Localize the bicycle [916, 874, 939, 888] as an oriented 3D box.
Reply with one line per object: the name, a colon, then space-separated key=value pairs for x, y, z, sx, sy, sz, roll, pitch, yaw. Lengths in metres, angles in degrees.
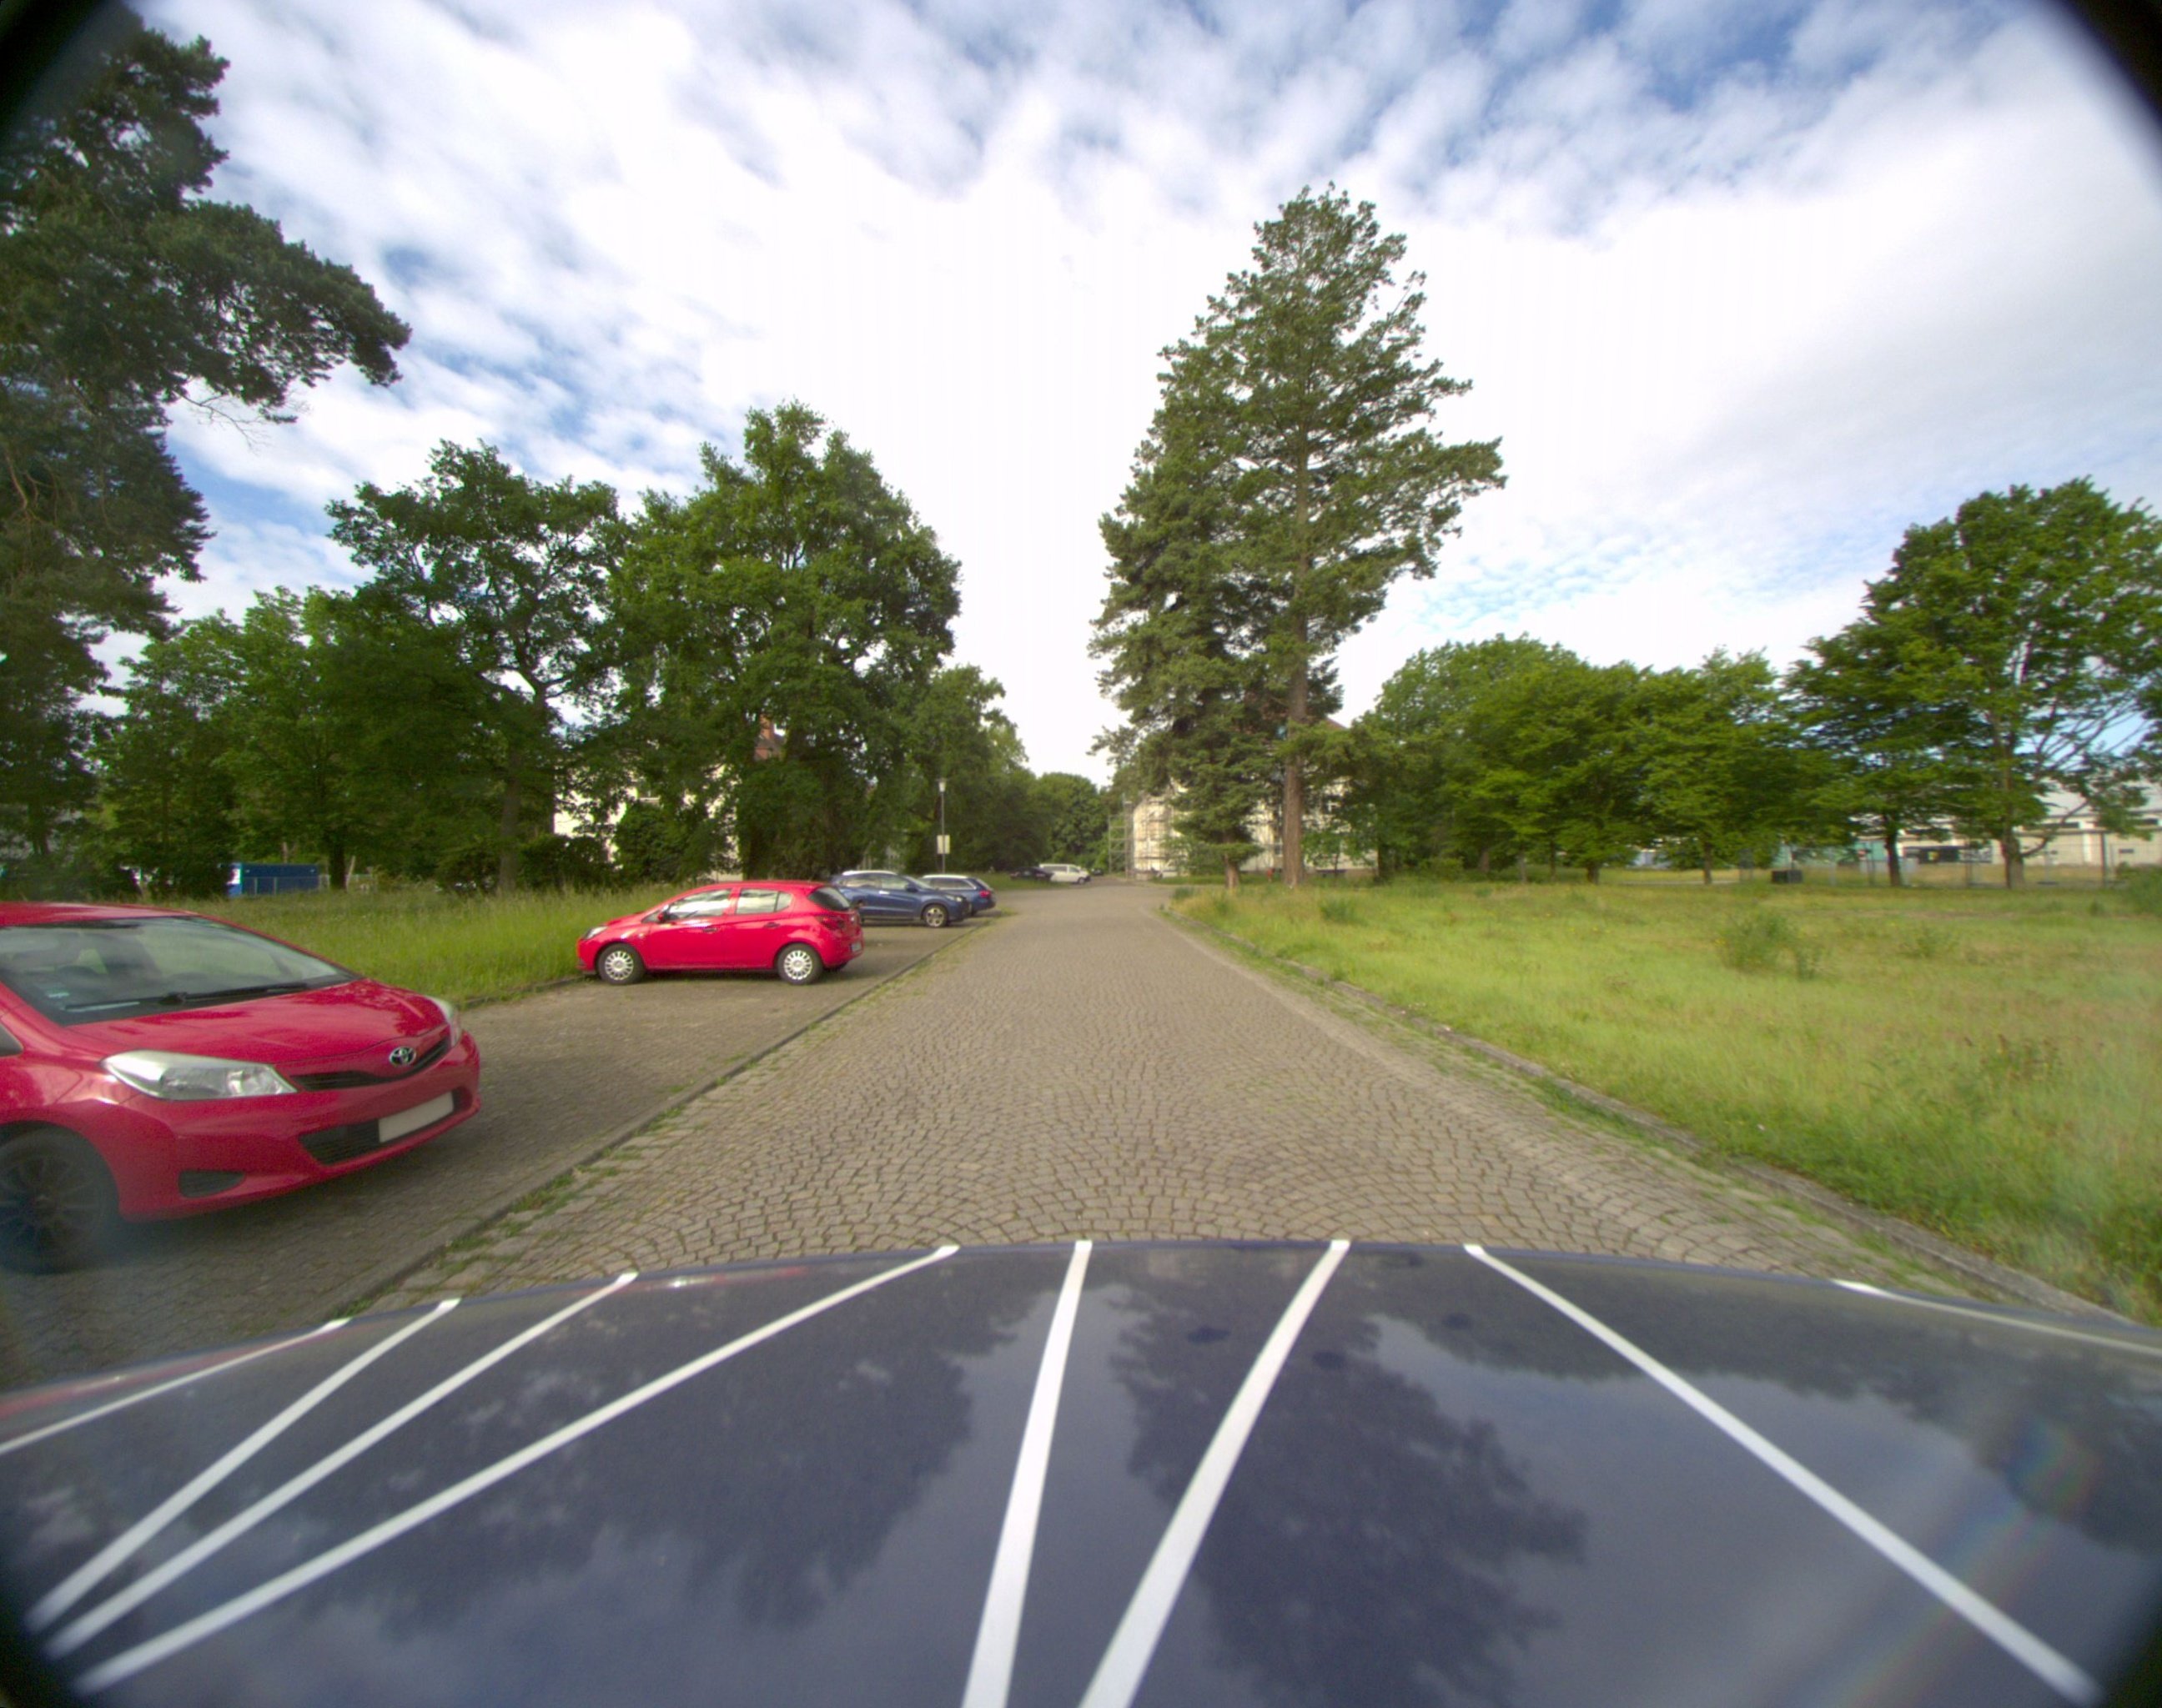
bicycle: x=-12.353 y=2.170 z=61.074 sx=1.753 sy=1.082 sz=0.552 roll=0 pitch=2 yaw=-22

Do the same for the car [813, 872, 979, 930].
car: x=-5.184 y=1.314 z=21.736 sx=4.274 sy=1.564 sz=1.895 roll=0 pitch=-1 yaw=-1

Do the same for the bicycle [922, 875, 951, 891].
bicycle: x=-10.461 y=2.090 z=54.893 sx=2.020 sy=1.082 sz=0.478 roll=0 pitch=2 yaw=-22

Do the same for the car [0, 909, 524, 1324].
car: x=-5.470 y=1.119 z=3.835 sx=3.997 sy=1.509 sz=1.738 roll=-1 pitch=-1 yaw=0

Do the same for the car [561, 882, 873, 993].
car: x=-5.291 y=1.191 z=11.429 sx=3.849 sy=1.496 sz=1.738 roll=0 pitch=-1 yaw=-1

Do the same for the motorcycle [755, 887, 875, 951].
motorcycle: x=-5.534 y=1.345 z=15.880 sx=2.271 sy=1.267 sz=0.605 roll=0 pitch=0 yaw=-5

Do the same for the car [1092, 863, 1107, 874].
car: x=3.406 y=2.655 z=141.775 sx=2.029 sy=1.915 sz=3.997 roll=-1 pitch=-1 yaw=-11

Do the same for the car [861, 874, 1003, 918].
car: x=-5.109 y=1.436 z=26.517 sx=4.515 sy=1.456 sz=1.896 roll=0 pitch=-1 yaw=3

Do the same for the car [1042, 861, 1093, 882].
car: x=-1.381 y=1.711 z=75.249 sx=4.916 sy=1.982 sz=2.000 roll=-1 pitch=-1 yaw=-3
